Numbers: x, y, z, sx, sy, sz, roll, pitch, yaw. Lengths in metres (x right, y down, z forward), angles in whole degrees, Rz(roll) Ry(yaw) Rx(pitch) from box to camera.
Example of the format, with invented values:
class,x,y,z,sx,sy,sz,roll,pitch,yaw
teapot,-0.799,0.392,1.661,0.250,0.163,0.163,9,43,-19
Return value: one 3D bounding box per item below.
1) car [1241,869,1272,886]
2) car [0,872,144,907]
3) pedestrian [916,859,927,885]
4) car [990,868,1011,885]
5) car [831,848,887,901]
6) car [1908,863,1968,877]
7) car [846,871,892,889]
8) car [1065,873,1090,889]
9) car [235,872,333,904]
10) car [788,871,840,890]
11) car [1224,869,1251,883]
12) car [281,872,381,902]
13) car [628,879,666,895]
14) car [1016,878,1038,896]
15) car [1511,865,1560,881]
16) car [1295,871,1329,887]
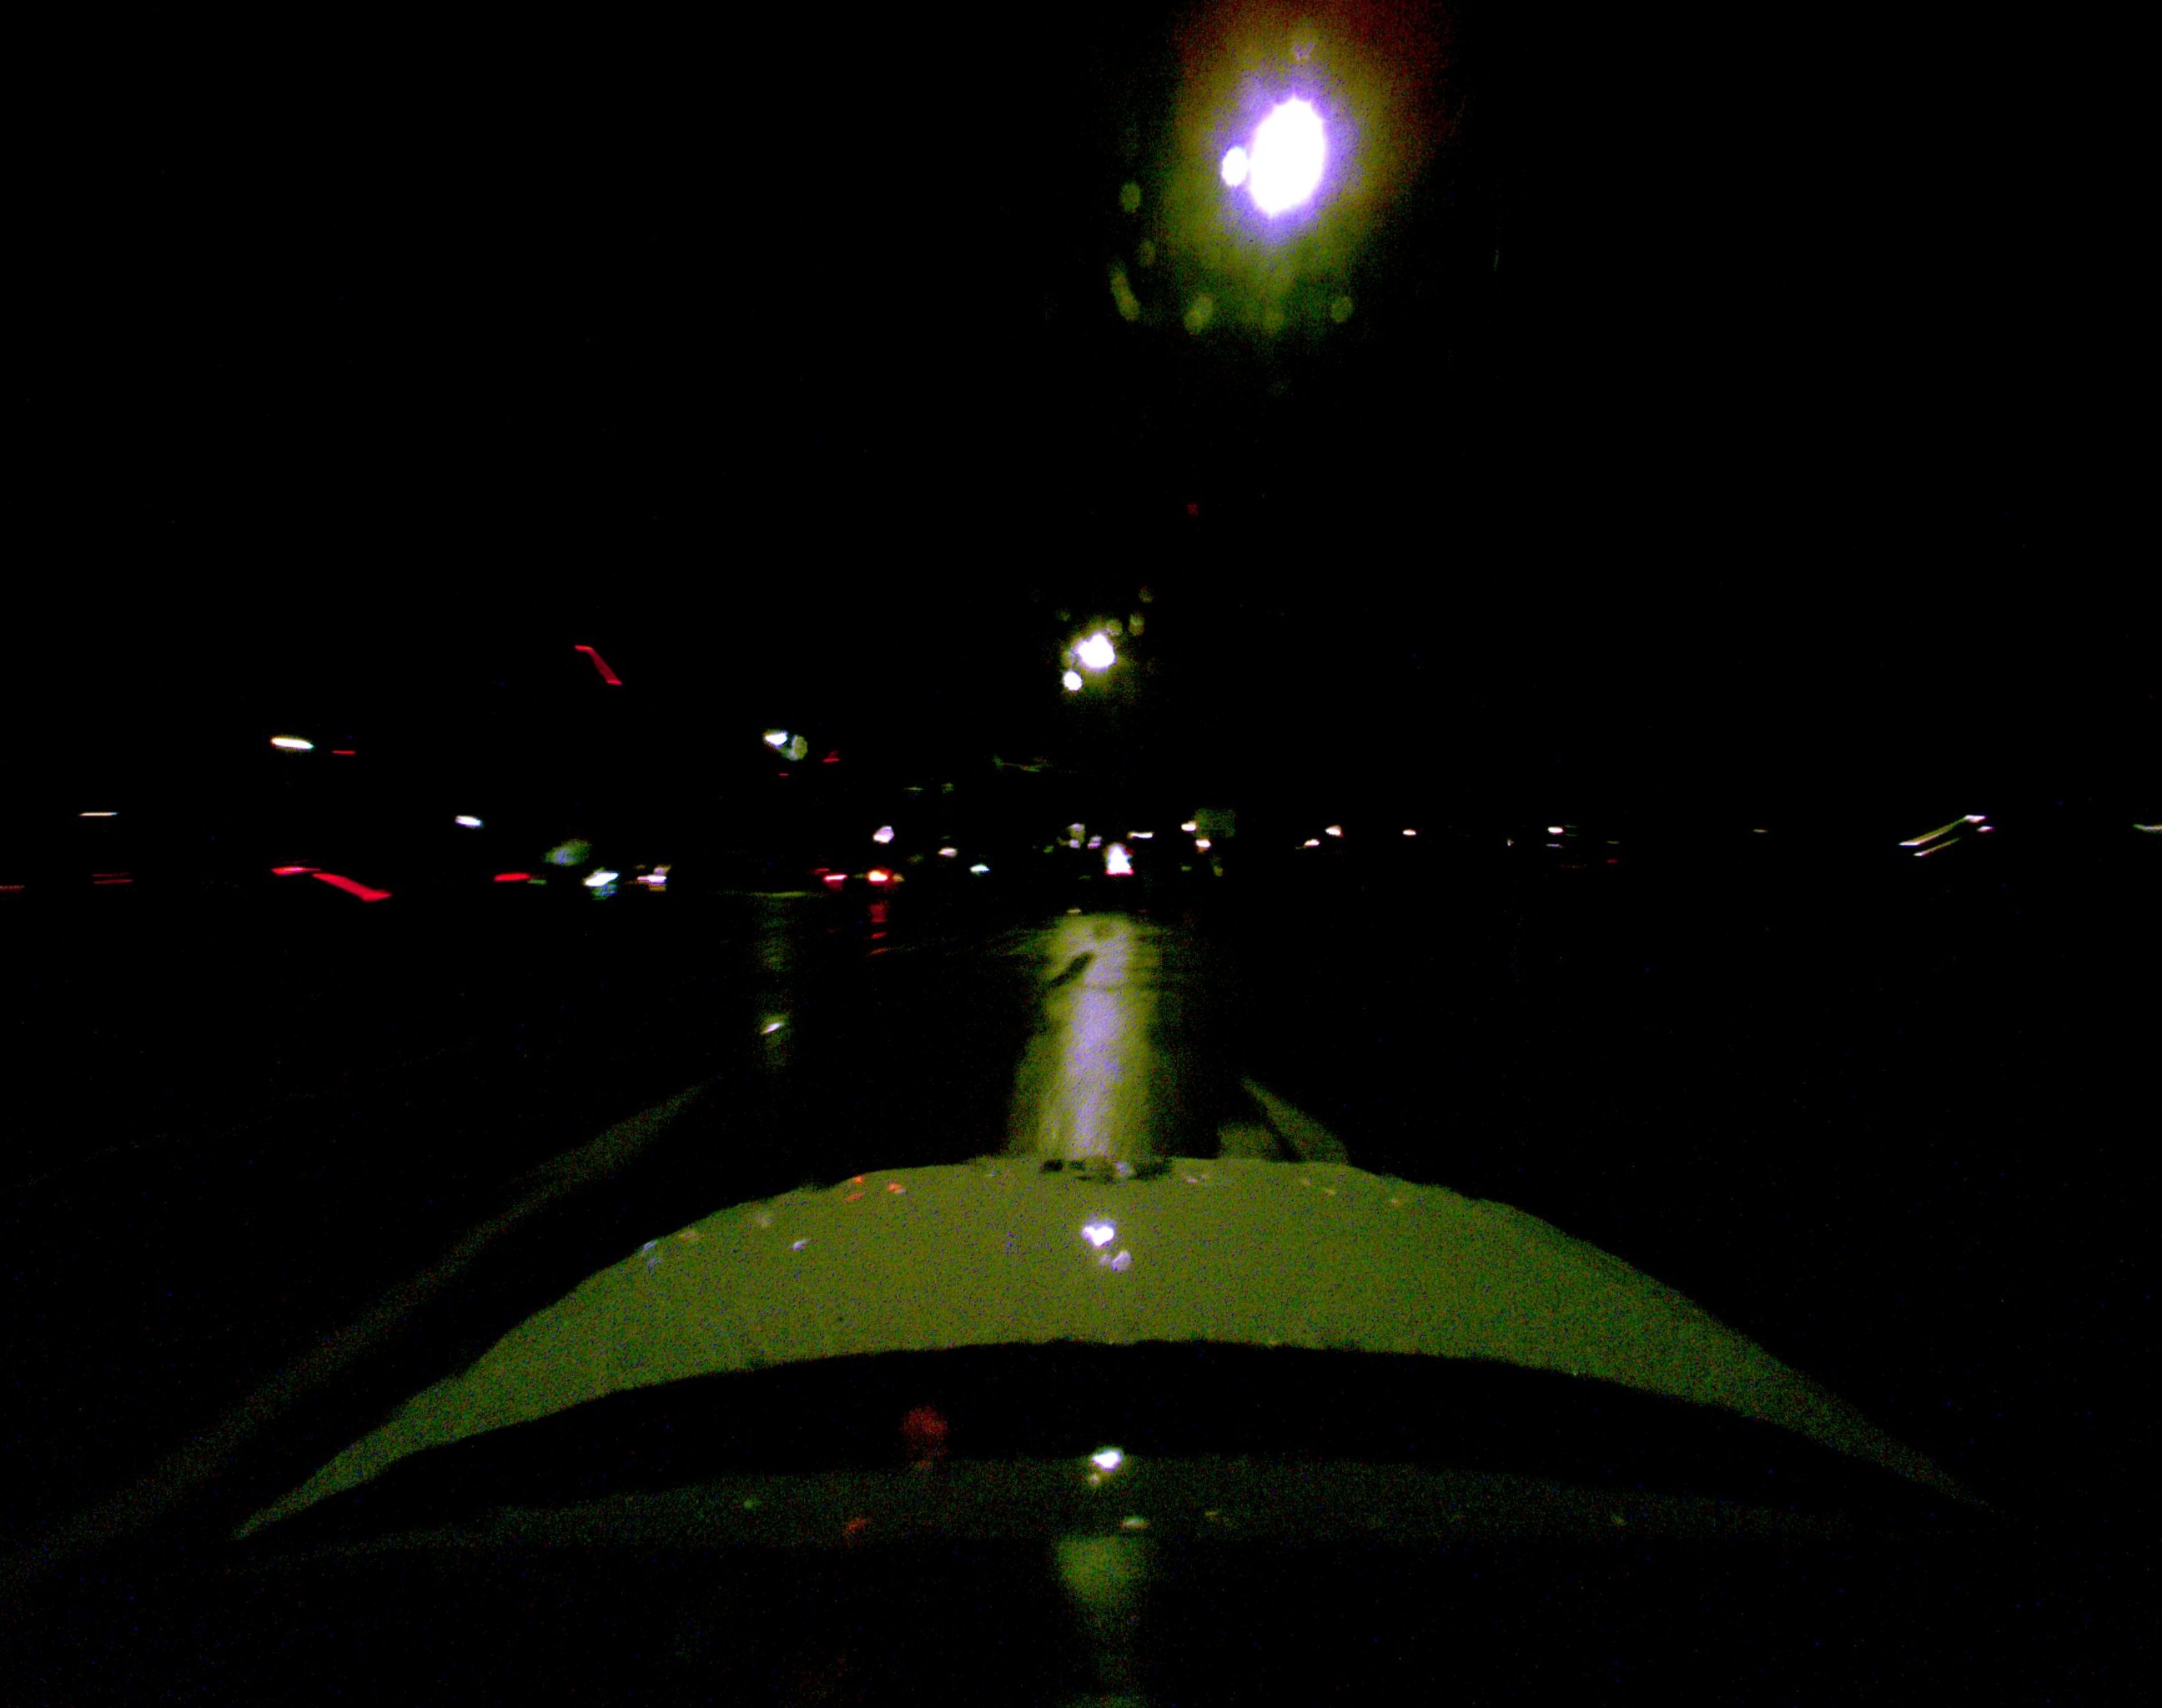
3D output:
class,x,y,z,sx,sy,sz,roll,pitch,yaw
car,16.755,2.248,77.834,1.715,1.536,3.899,1,-2,-8
car,-48.030,1.692,38.794,3.978,1.579,1.858,2,-2,-32
pedestrian,-11.854,1.312,60.462,0.655,1.902,0.723,1,-2,-25
car,-7.396,2.052,74.329,1.715,1.497,3.899,1,-2,-8
car,-9.063,0.867,33.526,1.995,2.014,4.537,1,-2,-13
car,89.708,1.677,85.291,1.715,1.375,4.137,1,-2,-8
car,-20.559,2.517,78.994,4.050,1.682,1.788,1,-2,-7
car,-0.359,2.483,75.099,1.715,1.497,3.899,1,-2,-8
car,-41.354,1.741,42.293,3.957,1.616,1.844,0,-2,16
car,-23.956,2.366,73.242,3.974,1.684,1.918,0,-2,0
car,17.118,2.399,89.350,1.715,1.536,3.899,1,-2,-8
car,-41.362,1.828,45.021,3.618,1.579,1.730,1,-2,-11
car,-50.344,3.812,94.544,1.865,1.758,4.394,0,-2,1
car,-4.922,3.040,74.112,1.715,1.497,3.898,0,-5,-9
car,46.023,1.907,82.598,1.715,1.536,4.980,1,-2,-8
car,22.231,2.420,78.426,1.715,1.536,3.899,1,-2,-8
